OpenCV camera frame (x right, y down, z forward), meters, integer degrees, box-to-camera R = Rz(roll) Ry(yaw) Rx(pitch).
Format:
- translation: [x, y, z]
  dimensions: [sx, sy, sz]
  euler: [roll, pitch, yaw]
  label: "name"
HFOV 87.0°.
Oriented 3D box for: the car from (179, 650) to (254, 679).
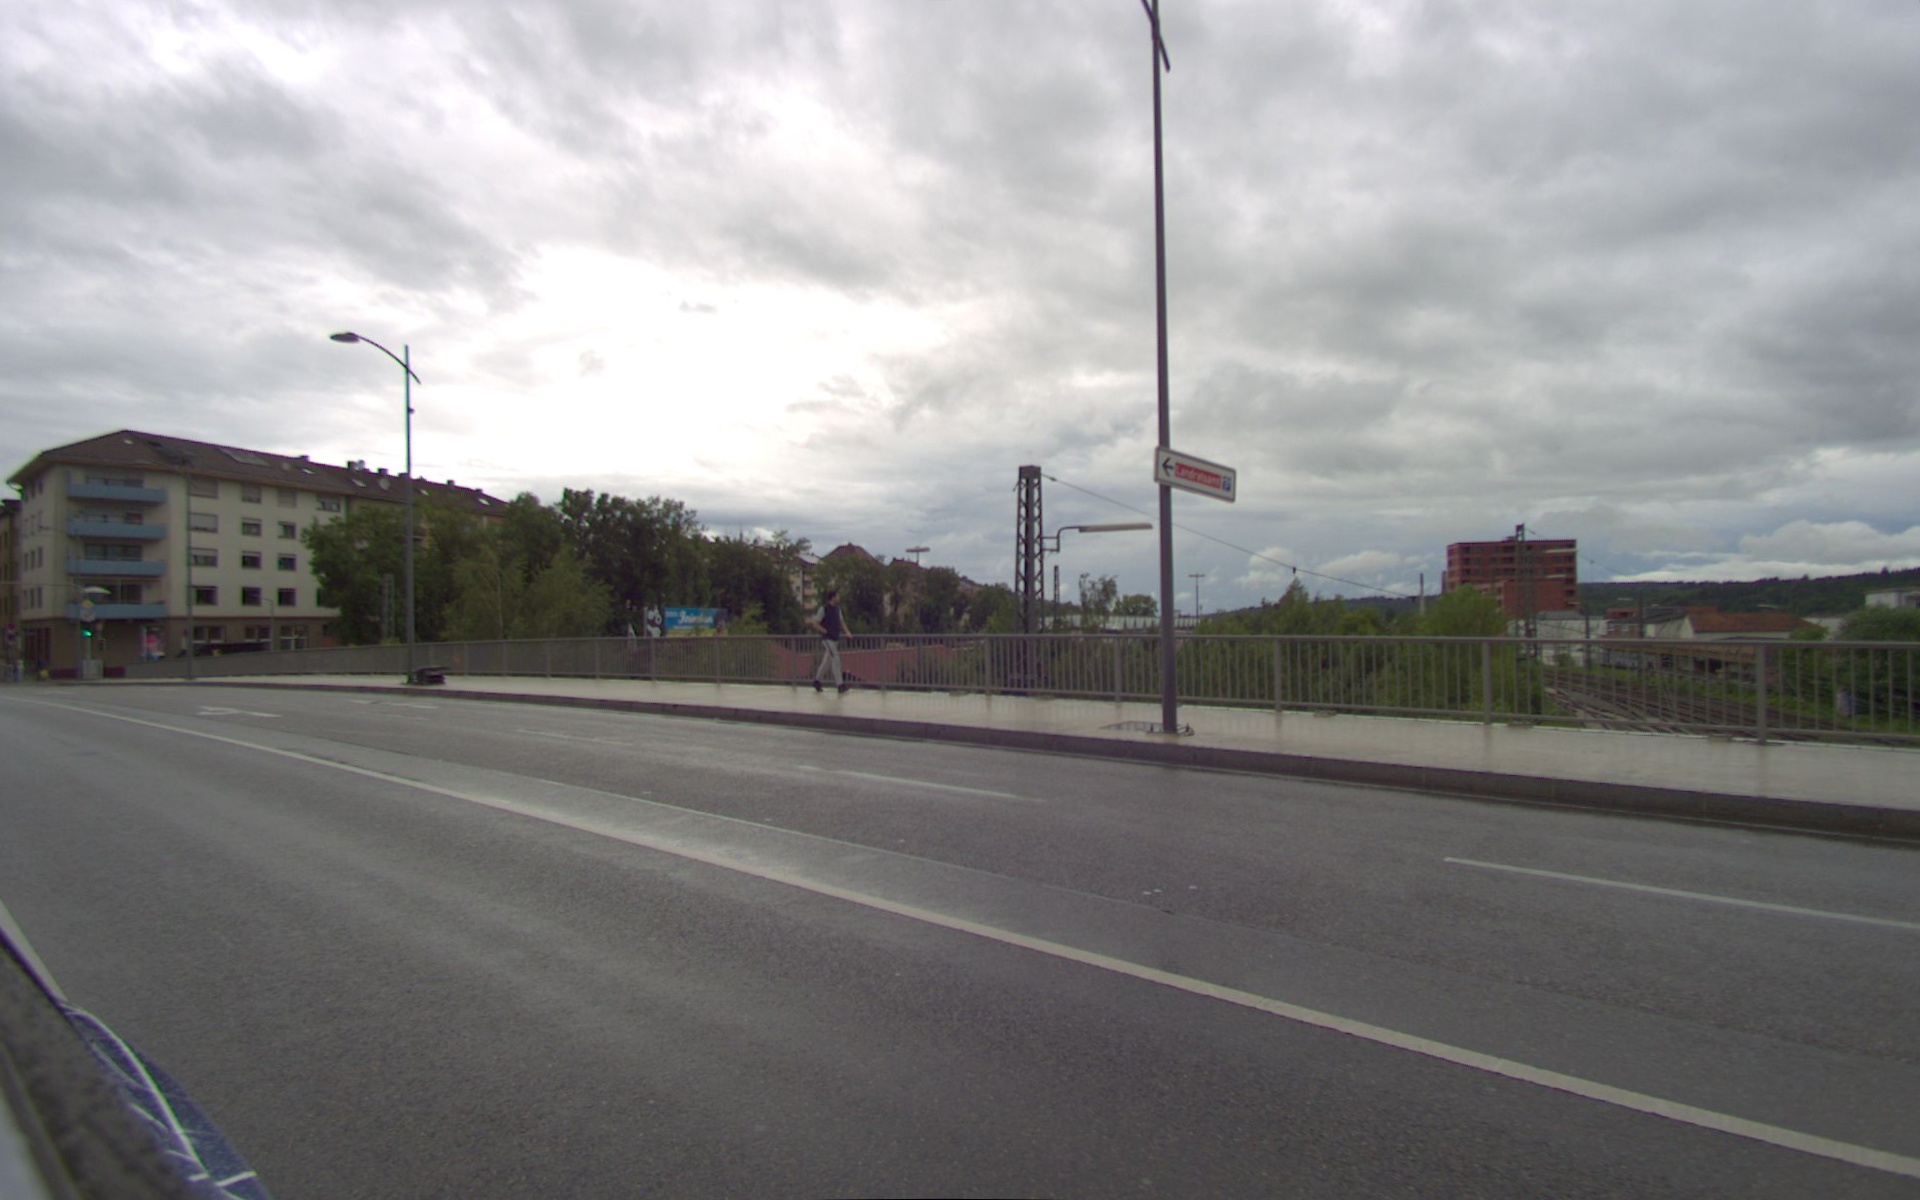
- translation: [-58.306, 5.050, 79.457]
  dimensions: [2.119, 2.029, 4.326]
  euler: [-2, -1, 20]
  label: "car"
